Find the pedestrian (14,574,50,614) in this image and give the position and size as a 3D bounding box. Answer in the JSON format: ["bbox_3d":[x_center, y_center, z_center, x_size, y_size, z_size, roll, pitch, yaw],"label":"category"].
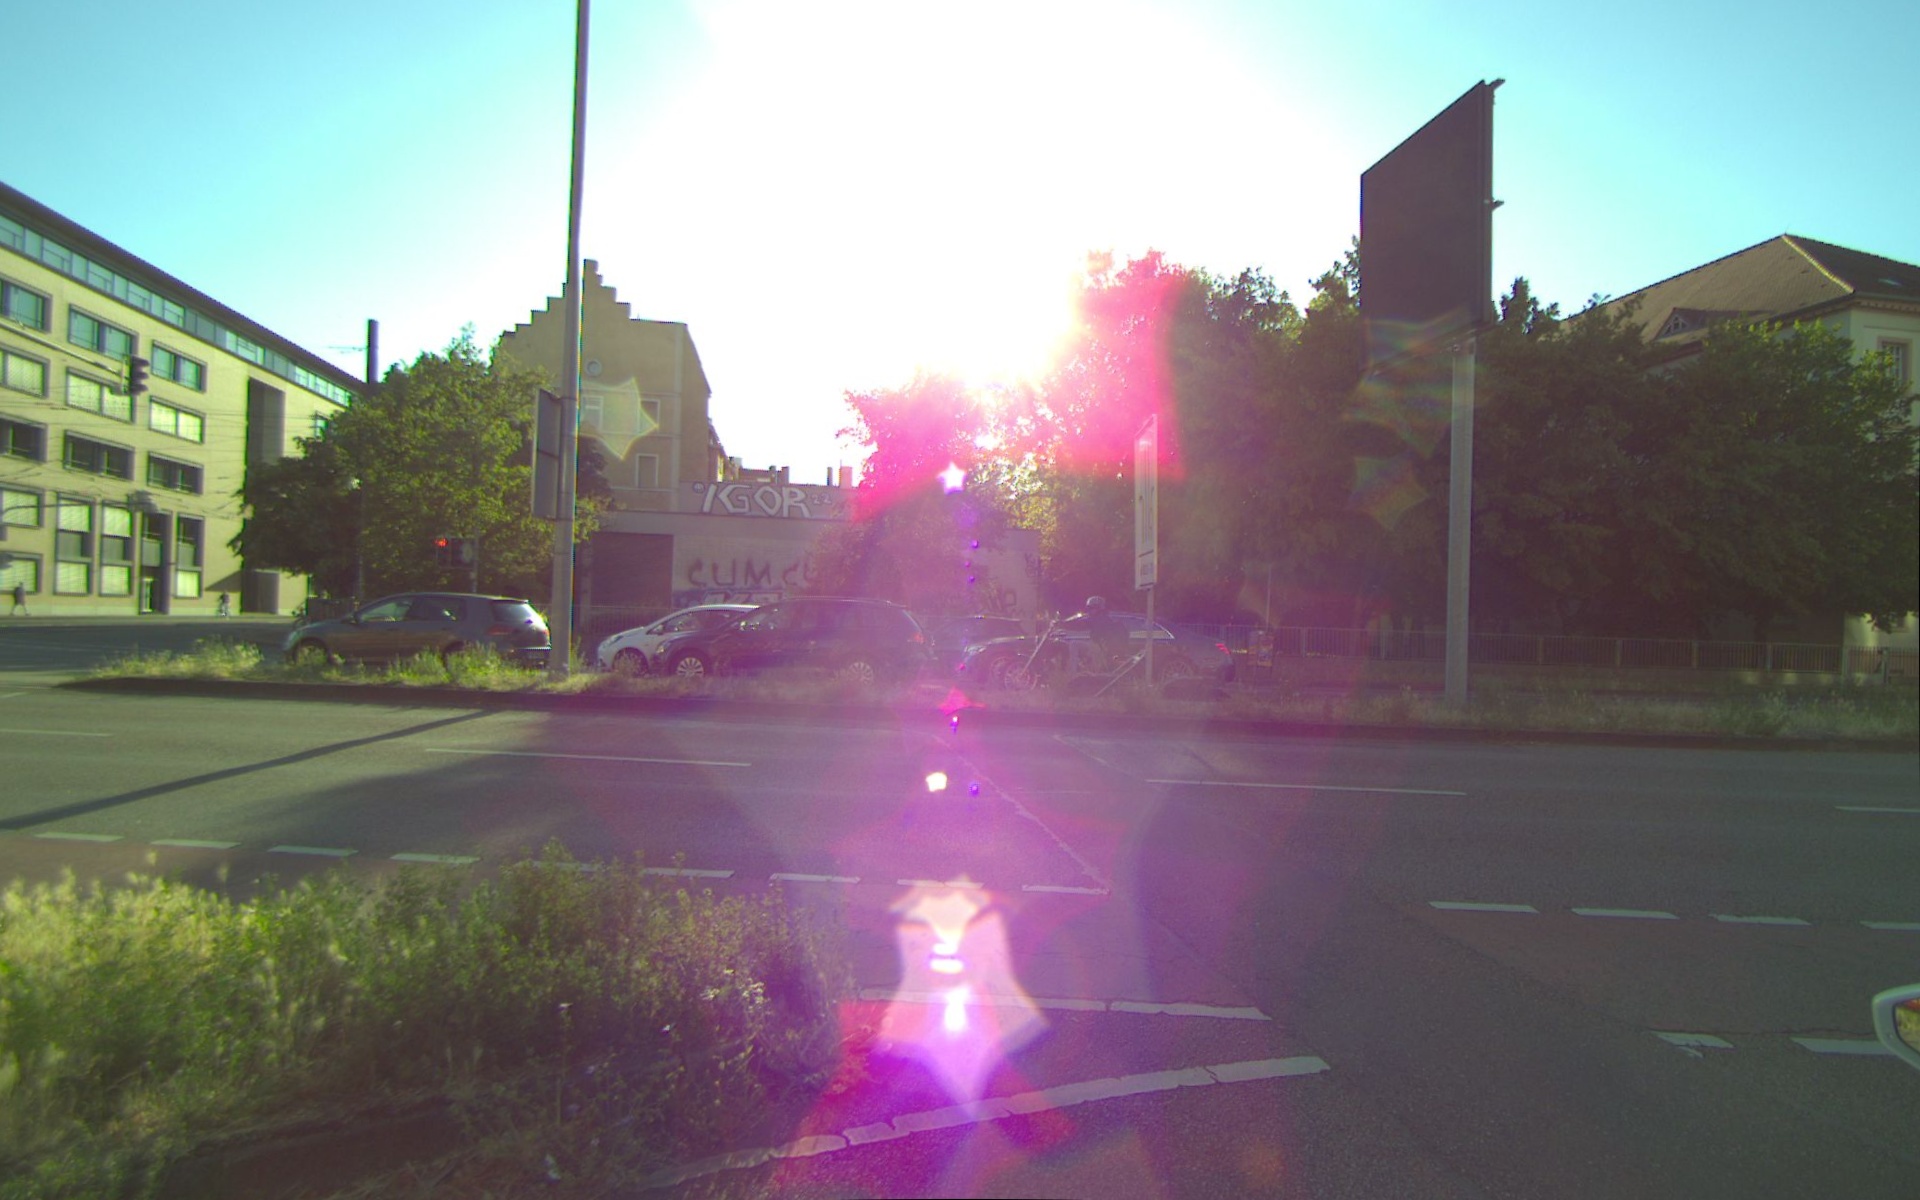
[{"bbox_3d":[-48.463,-0.308,52.489,0.914,2.040,0.987,2,-1,-9],"label":"pedestrian"}]

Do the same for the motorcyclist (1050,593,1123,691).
[{"bbox_3d":[1.918,0.635,15.307,1.040,1.416,0.855,1,-1,5],"label":"motorcyclist"}]

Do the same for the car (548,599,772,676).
[{"bbox_3d":[-5.804,0.713,19.738,3.816,1.336,1.725,1,-1,3],"label":"car"}]

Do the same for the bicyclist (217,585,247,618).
[{"bbox_3d":[-45.517,0.091,62.809,0.976,2.040,1.250,2,-1,-6],"label":"bicyclist"}]

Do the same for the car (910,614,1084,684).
[{"bbox_3d":[0.831,1.120,23.791,3.922,1.483,1.859,2,-1,-2],"label":"car"}]

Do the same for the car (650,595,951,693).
[{"bbox_3d":[-2.384,0.652,15.615,4.288,1.313,1.725,1,-1,5],"label":"car"}]

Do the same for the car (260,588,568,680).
[{"bbox_3d":[-8.837,0.539,16.438,4.162,1.313,1.725,1,-1,7],"label":"car"}]

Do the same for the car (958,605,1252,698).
[{"bbox_3d":[2.592,0.945,18.904,5.188,1.515,2.000,2,-1,-1],"label":"car"}]

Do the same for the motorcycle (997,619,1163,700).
[{"bbox_3d":[1.808,0.888,15.325,2.420,1.122,0.862,1,-1,5],"label":"motorcycle"}]

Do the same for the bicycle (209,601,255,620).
[{"bbox_3d":[-45.548,0.654,62.877,0.993,1.150,2.825,3,-1,-5],"label":"bicycle"}]
